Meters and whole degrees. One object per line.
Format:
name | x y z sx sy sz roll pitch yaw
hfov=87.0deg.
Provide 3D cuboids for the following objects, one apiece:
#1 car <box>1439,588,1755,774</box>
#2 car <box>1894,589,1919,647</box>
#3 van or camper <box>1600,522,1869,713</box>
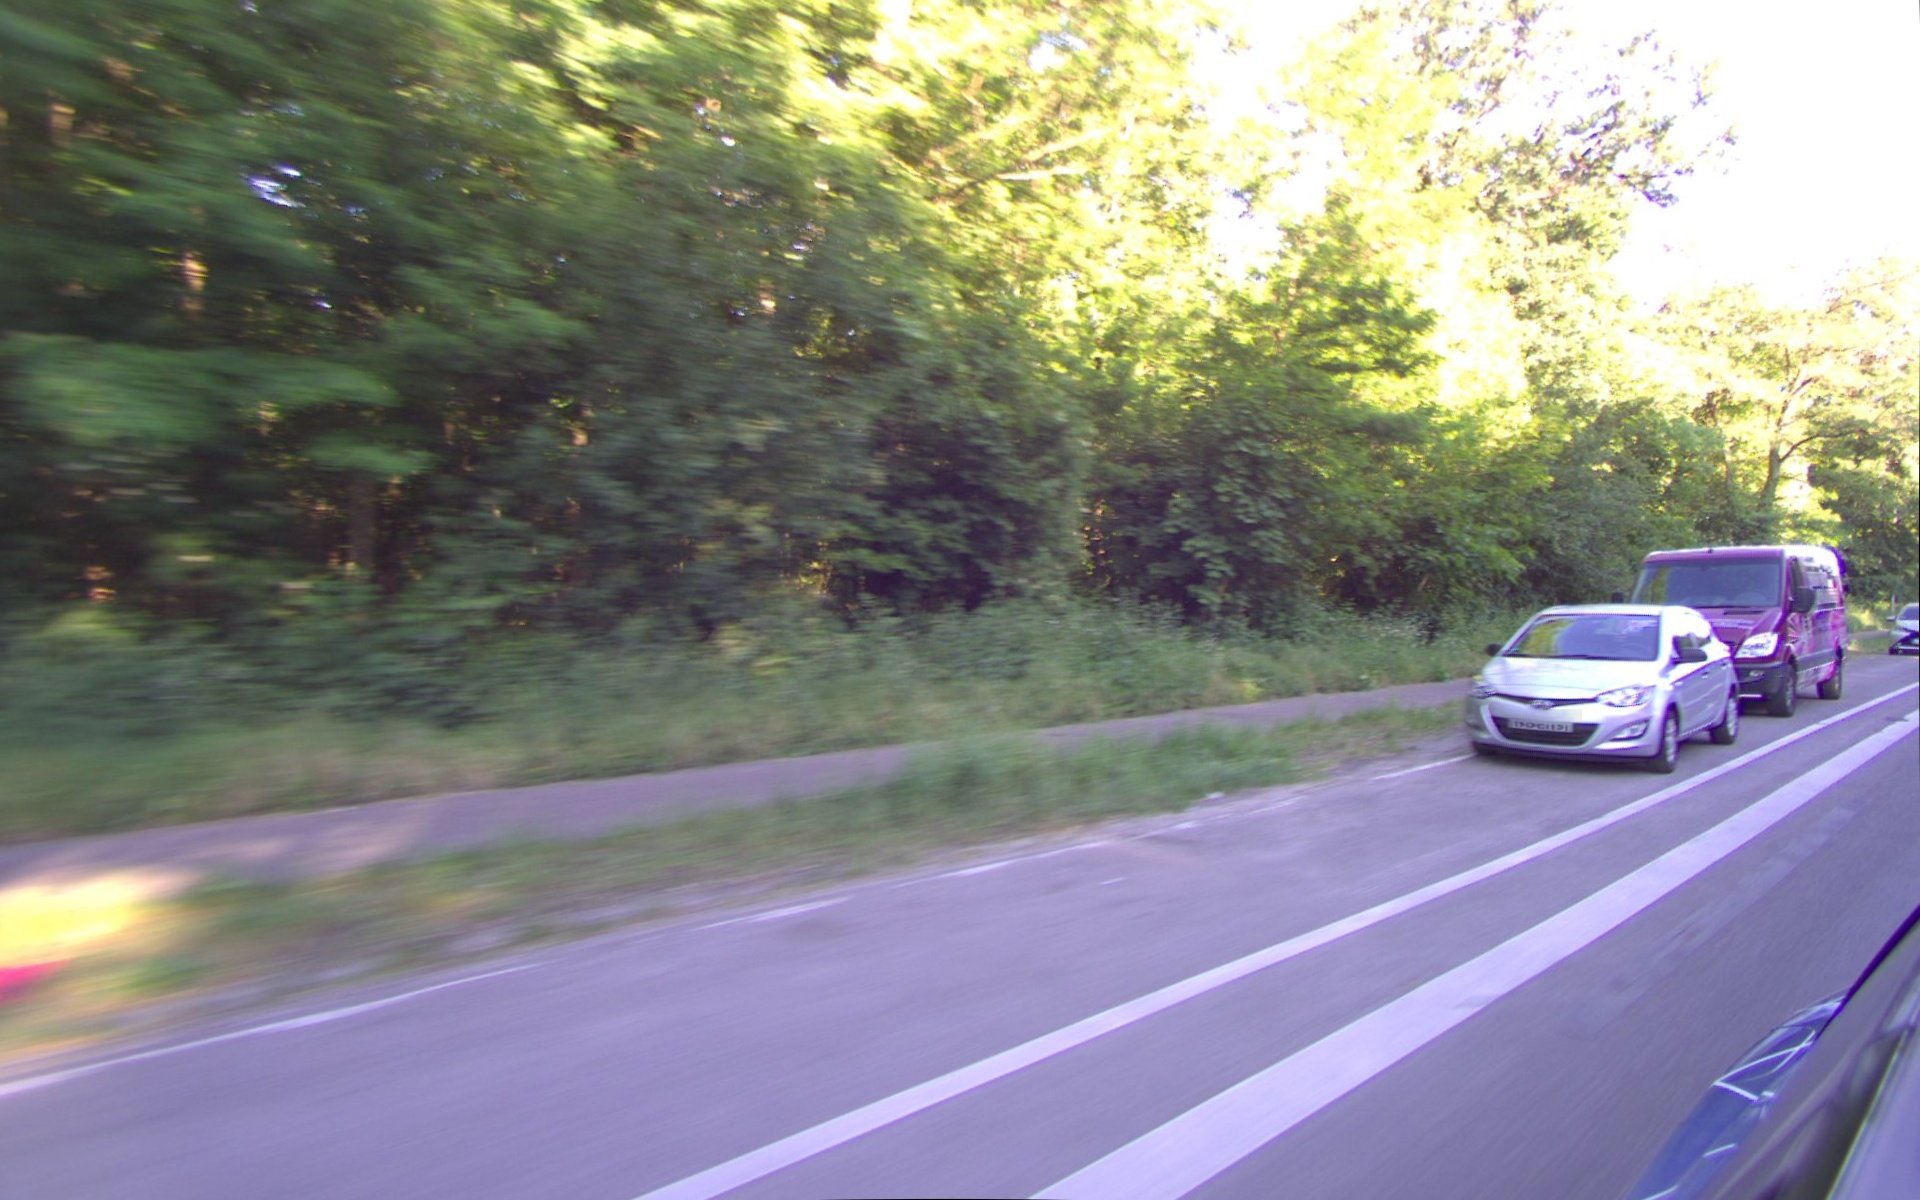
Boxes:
car | 6.619 0.672 10.343 3.932 1.535 1.749 0 -1 -43
car | 27.731 0.486 28.382 3.950 1.565 1.715 0 -1 -40
van or camper | 11.716 0.176 15.103 5.936 2.341 2.039 0 2 -42
